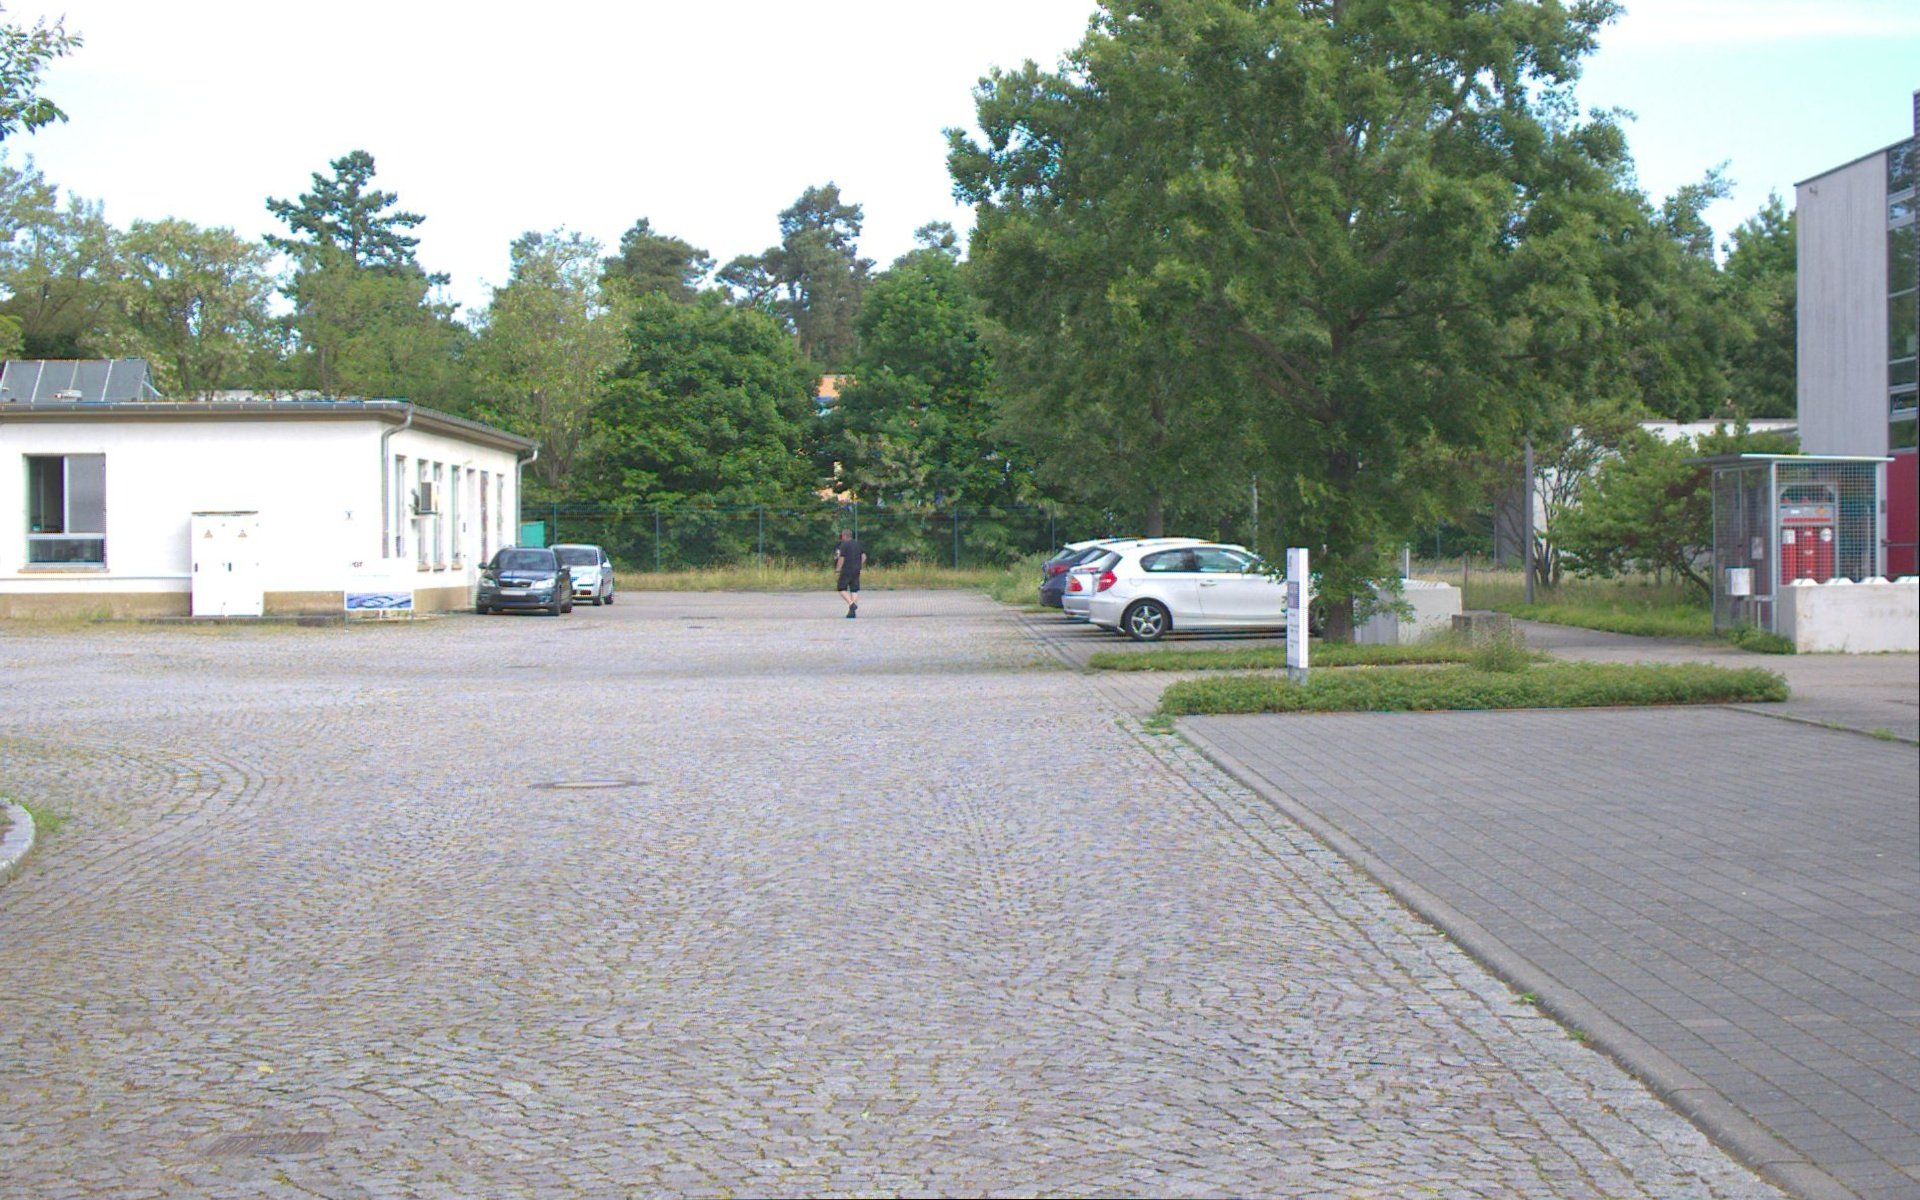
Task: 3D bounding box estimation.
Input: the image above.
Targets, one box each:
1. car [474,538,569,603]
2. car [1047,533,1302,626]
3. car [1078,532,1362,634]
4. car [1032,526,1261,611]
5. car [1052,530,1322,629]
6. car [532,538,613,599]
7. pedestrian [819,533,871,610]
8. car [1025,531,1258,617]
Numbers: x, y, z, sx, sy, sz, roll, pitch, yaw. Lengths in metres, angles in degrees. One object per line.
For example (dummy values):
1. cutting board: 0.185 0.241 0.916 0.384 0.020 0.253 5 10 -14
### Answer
1. car: -9.424 -0.653 74.126 1.748 1.359 4.001 0 1 -3
2. car: 3.428 -0.343 55.481 3.987 1.450 1.770 0 1 0
3. car: 3.758 -0.249 50.275 3.987 1.450 2.000 0 0 0
4. car: 3.429 -0.594 63.598 3.986 1.528 2.000 -1 1 -4
5. car: 3.424 -0.317 52.440 3.987 1.450 1.697 0 1 0
6. car: -9.487 -0.778 84.357 1.748 1.449 4.001 0 1 -3
7. pedestrian: -2.363 -0.596 70.587 0.939 1.563 0.971 -1 1 -9
8. car: 3.161 -0.464 60.382 3.987 1.450 1.770 0 1 0
